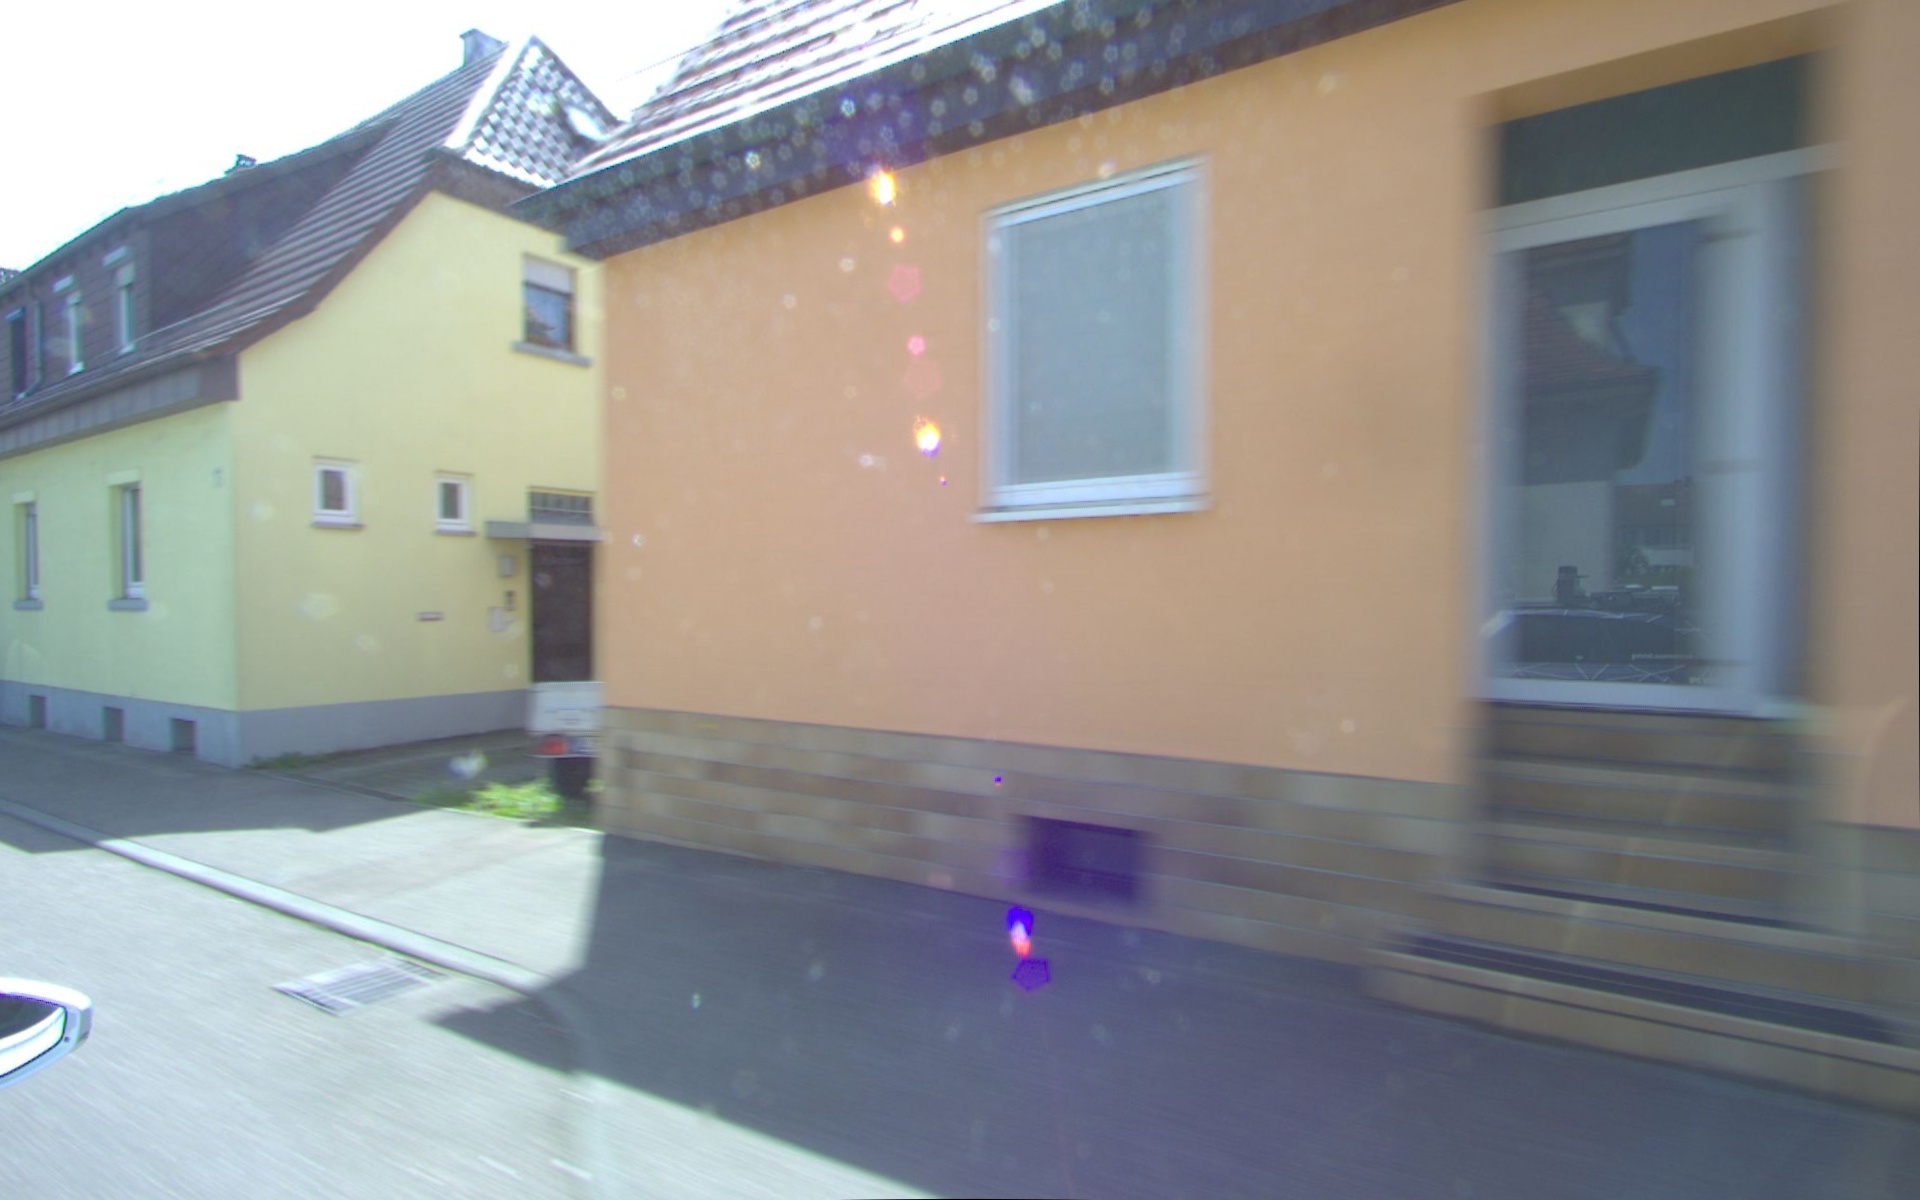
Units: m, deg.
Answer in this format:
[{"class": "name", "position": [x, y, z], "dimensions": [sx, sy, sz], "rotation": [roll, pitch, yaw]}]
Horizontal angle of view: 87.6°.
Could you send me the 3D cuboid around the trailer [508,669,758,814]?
[{"class": "trailer", "position": [-2.519, 1.070, 8.111], "dimensions": [1.218, 0.911, 2.142], "rotation": [0, -1, 4]}]
